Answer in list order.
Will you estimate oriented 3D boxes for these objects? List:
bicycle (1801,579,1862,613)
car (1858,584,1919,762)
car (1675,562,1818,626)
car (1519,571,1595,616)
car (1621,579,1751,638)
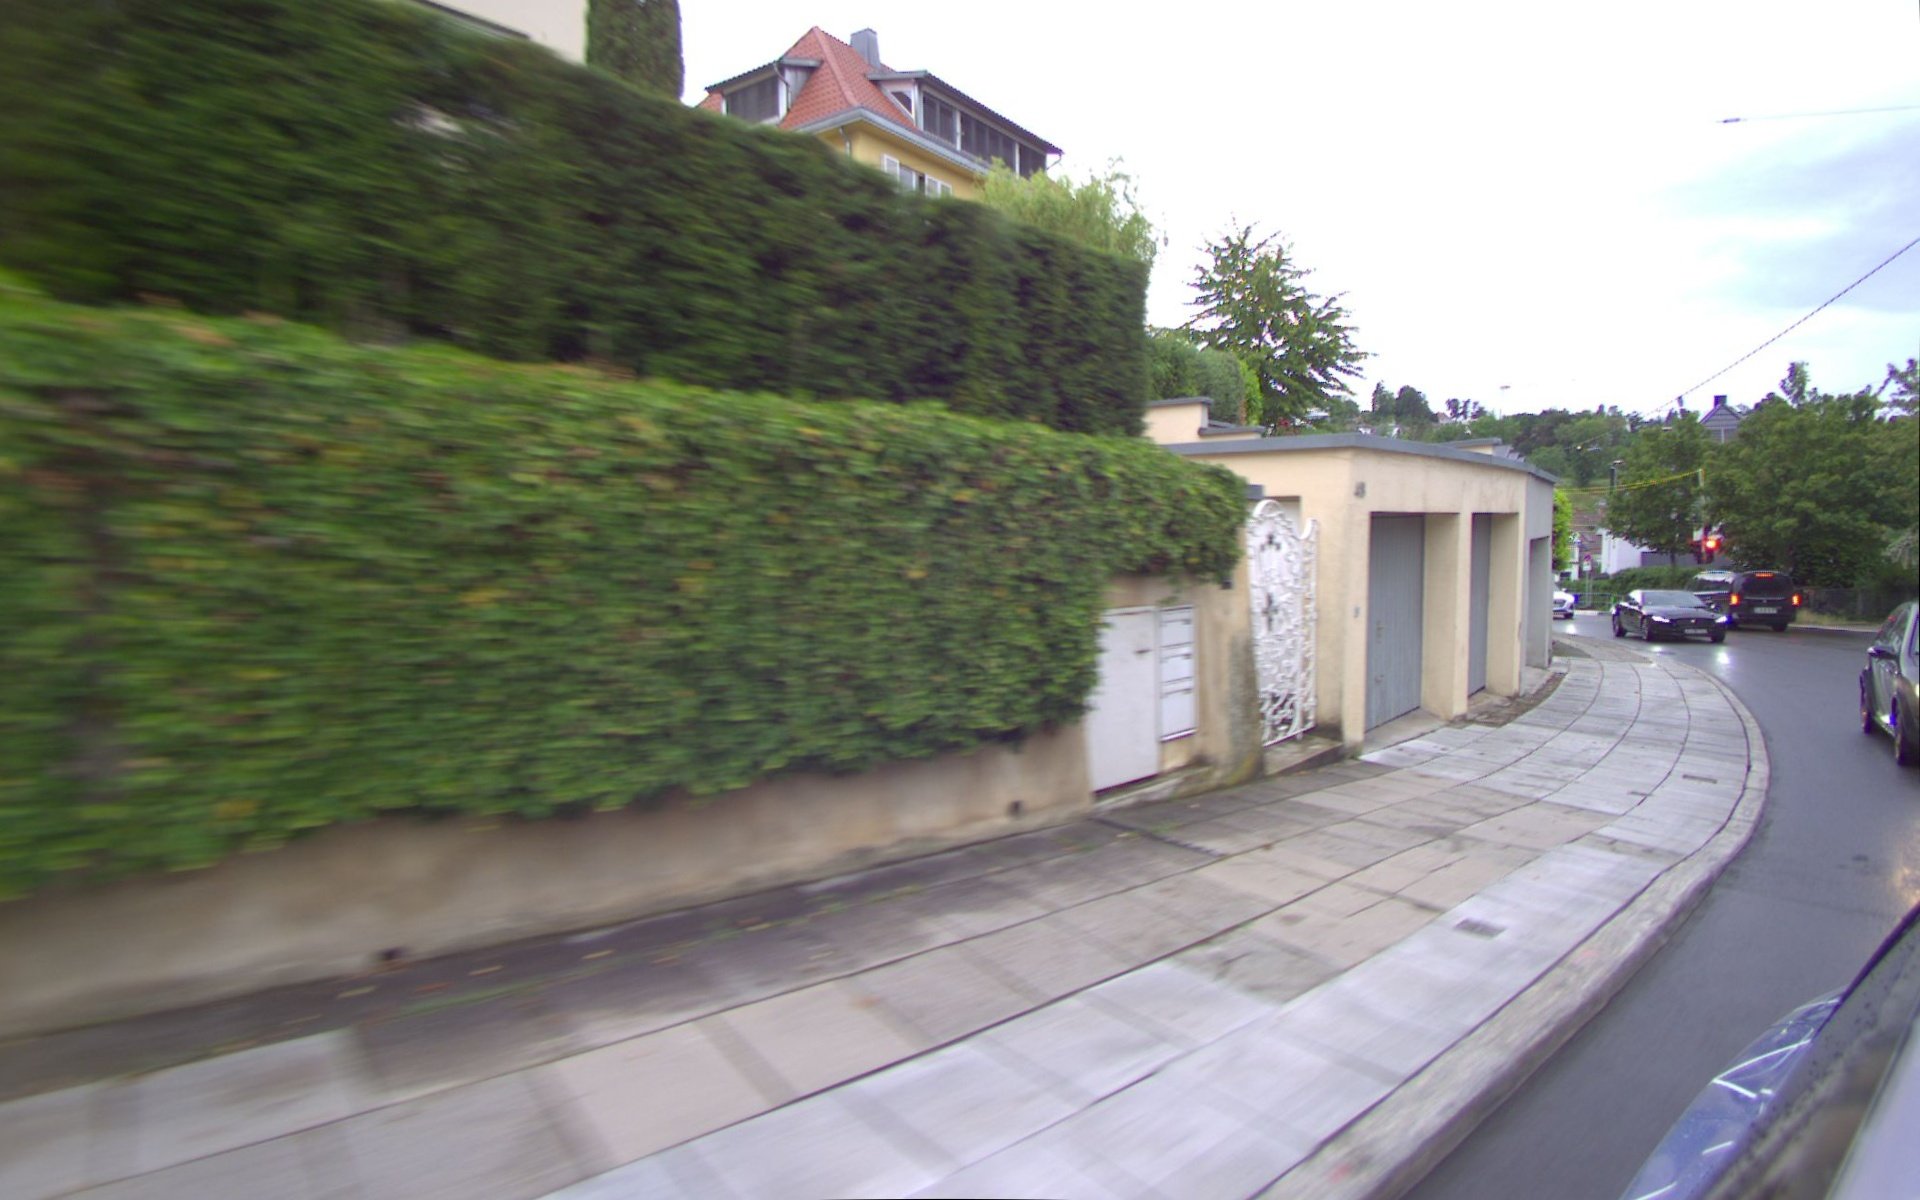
[{"bbox_3d":[34.619,-0.171,40.230,0.483,1.288,2.271,-1,0,2],"label":"bicycle"},{"bbox_3d":[10.162,0.621,9.916,1.667,1.484,4.652,3,3,38],"label":"car"},{"bbox_3d":[25.869,-0.258,33.532,1.876,1.913,5.128,2,2,16],"label":"car"},{"bbox_3d":[25.348,-0.332,43.111,1.977,1.730,4.543,2,2,21],"label":"car"},{"bbox_3d":[20.223,0.175,28.388,1.821,1.420,4.047,2,2,19],"label":"car"}]
